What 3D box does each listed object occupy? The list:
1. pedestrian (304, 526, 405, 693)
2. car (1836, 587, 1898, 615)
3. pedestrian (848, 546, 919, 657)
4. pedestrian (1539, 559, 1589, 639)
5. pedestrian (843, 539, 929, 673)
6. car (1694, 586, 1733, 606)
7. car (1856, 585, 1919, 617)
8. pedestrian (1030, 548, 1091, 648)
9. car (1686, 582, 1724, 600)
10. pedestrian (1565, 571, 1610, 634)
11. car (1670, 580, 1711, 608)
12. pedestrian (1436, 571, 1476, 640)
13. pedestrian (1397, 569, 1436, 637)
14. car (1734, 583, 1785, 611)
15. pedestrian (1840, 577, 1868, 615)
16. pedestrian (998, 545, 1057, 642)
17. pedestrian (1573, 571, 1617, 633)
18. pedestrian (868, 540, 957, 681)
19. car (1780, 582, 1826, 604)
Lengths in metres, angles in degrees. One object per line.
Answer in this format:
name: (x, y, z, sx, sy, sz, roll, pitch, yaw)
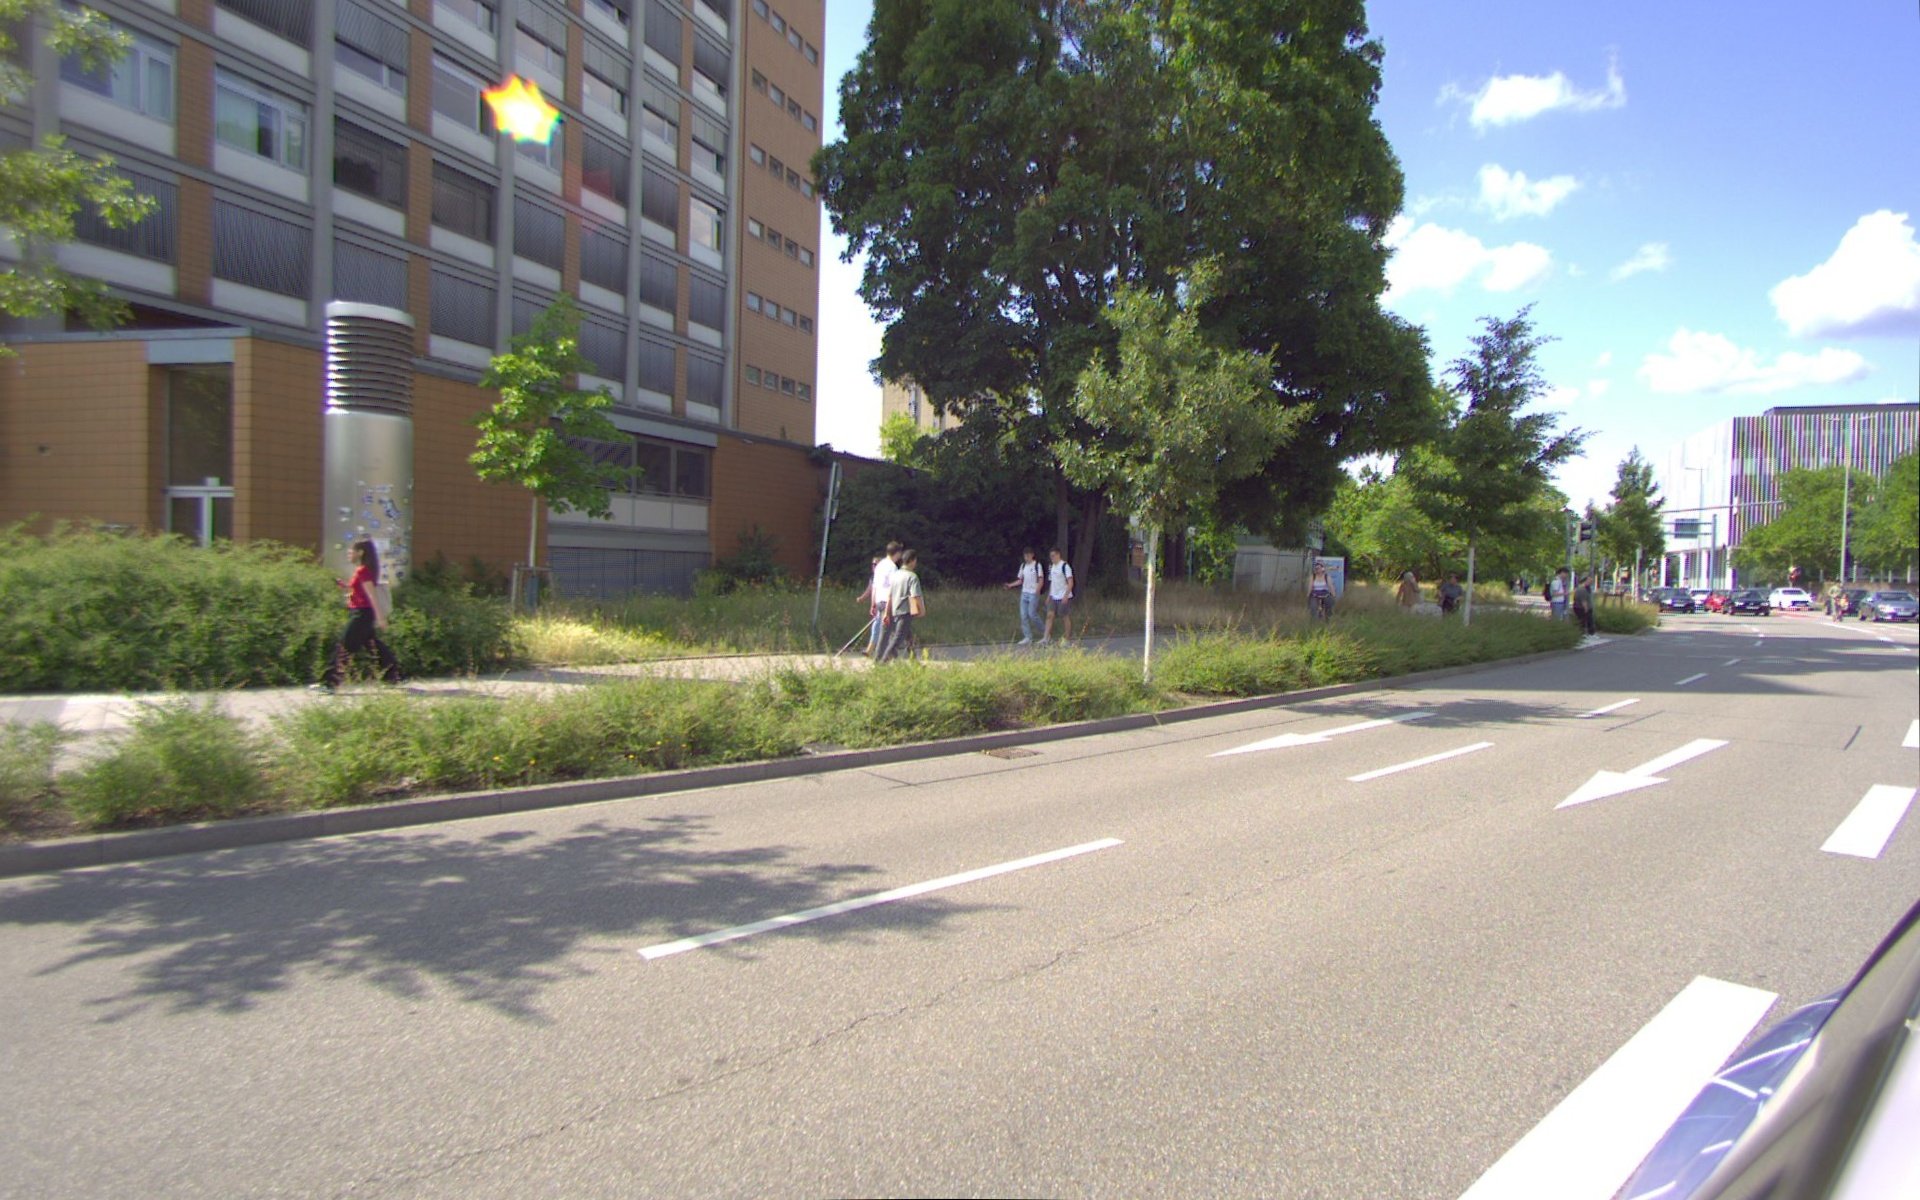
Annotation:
pedestrian: (-6.272, 0.075, 10.493, 0.872, 1.641, 0.617, 0, 4, -32)
car: (48.490, 0.027, 54.166, 1.719, 1.351, 3.749, 0, 1, 30)
pedestrian: (-1.185, -0.001, 15.689, 0.614, 1.641, 0.876, 5, 5, 43)
pedestrian: (15.864, -0.036, 26.569, 0.755, 2.039, 0.963, -1, 1, -43)
pedestrian: (-1.037, 0.059, 14.177, 0.742, 1.767, 0.876, 6, 5, 43)
car: (45.788, -0.239, 61.522, 1.586, 1.148, 3.588, 1, 1, 32)
car: (43.191, 0.004, 46.305, 1.977, 1.393, 4.237, 0, 1, 23)
pedestrian: (1.816, -0.049, 18.223, 0.614, 1.720, 0.876, 5, 5, 43)
car: (50.372, -0.624, 68.501, 1.897, 1.148, 4.052, 2, 2, 35)
pedestrian: (17.617, 0.060, 28.423, 0.755, 1.756, 0.926, -1, 1, -43)
car: (41.832, -0.364, 58.003, 1.815, 1.481, 3.950, 1, 2, 35)
pedestrian: (12.794, 0.126, 26.096, 0.765, 1.756, 0.708, 0, 1, 41)
pedestrian: (11.919, 0.064, 26.419, 0.765, 1.756, 0.708, 0, 1, 41)
car: (43.260, -0.195, 54.820, 1.814, 1.481, 3.952, 1, 2, 34)
pedestrian: (41.327, -0.209, 46.786, 0.731, 1.736, 0.868, 0, 0, 26)
pedestrian: (1.246, -0.133, 18.682, 0.614, 1.720, 0.876, 5, 5, 43)
pedestrian: (18.167, 0.045, 28.953, 0.755, 1.756, 0.926, -1, 1, -43)
pedestrian: (-0.635, 0.108, 13.522, 0.742, 1.775, 0.876, 5, 5, 42)
car: (54.870, -0.468, 65.935, 1.766, 1.371, 3.956, 0, 1, 31)
